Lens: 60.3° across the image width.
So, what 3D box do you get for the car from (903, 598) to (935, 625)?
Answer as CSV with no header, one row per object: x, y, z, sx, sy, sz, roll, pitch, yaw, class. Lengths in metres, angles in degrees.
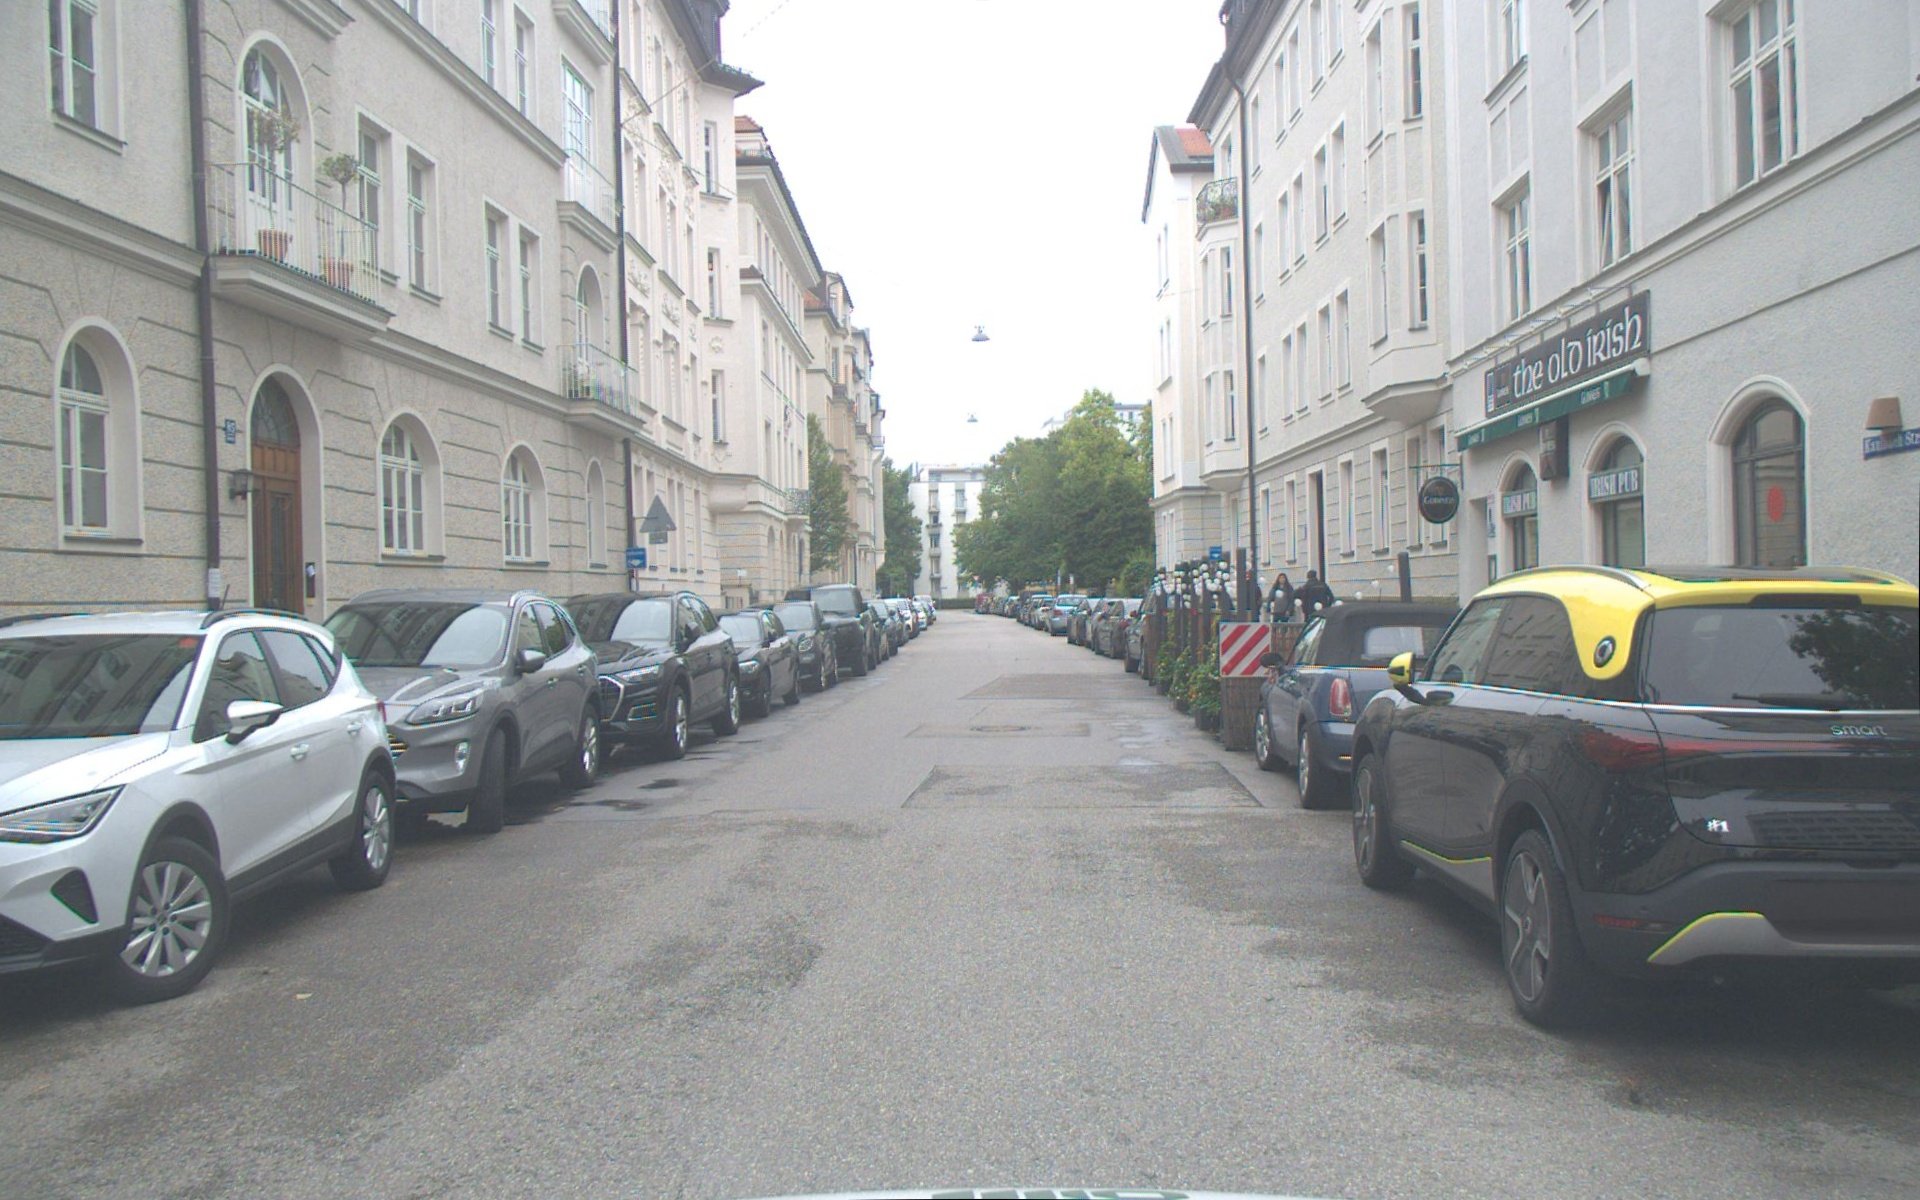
-2.527,0.715,103.101,1.799,1.460,4.245,-4,0,0,car

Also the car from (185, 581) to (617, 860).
-3.971,0.744,12.571,1.799,1.707,4.213,-2,0,0,car

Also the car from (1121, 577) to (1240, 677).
4.060,0.450,30.995,1.763,1.704,4.190,-2,0,2,car

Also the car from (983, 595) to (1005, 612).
3.316,0.361,160.168,1.802,1.545,3.944,0,0,-4,car

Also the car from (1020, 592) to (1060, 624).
4.275,0.407,88.650,1.715,1.639,4.421,0,1,-3,car

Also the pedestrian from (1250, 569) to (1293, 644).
7.858,0.152,41.786,0.865,1.845,1.111,-2,0,1,pedestrian

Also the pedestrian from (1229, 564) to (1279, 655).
6.175,0.192,34.797,0.864,1.843,1.111,-2,0,3,pedestrian

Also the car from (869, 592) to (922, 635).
-2.589,0.514,67.420,1.875,1.647,4.572,-2,0,1,car

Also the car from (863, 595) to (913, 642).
-2.743,0.671,62.327,1.747,1.568,4.254,-4,0,-3,car

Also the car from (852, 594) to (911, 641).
-2.699,0.588,57.633,1.756,1.439,4.278,-4,0,0,car

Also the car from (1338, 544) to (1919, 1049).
3.027,0.633,7.502,1.798,1.647,4.096,1,1,2,car

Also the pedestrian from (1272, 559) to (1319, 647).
8.005,0.069,39.489,0.865,2.049,1.111,-2,0,1,pedestrian

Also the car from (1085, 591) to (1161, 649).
4.516,0.517,46.418,1.724,1.511,4.421,1,1,1,car

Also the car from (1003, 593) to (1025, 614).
4.270,0.294,131.469,1.483,1.690,3.672,0,0,-2,car

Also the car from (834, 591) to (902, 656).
-2.541,0.634,46.415,1.692,1.647,4.120,-4,0,-2,car

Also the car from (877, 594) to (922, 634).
-2.638,0.584,72.916,1.799,1.647,4.244,-2,0,0,car

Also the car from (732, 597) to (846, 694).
-2.970,0.753,29.314,1.583,1.539,3.531,-3,0,0,car

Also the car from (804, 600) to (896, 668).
-2.638,0.795,40.363,1.799,1.418,4.245,-4,0,1,car

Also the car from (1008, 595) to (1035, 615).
4.481,0.396,121.743,1.801,1.438,4.342,0,0,0,car

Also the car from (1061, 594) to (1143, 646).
4.345,0.580,51.366,1.953,1.483,4.711,-2,0,-2,car

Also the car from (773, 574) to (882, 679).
-2.689,0.495,34.500,1.799,1.927,4.763,-4,0,0,car

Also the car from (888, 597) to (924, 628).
-2.860,0.653,88.373,1.799,1.459,4.243,-3,1,-2,car

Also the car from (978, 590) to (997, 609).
2.867,-0.063,170.976,1.798,1.960,4.006,1,1,2,car

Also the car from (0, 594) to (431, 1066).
-3.842,0.800,7.620,1.660,1.595,3.949,-2,0,-3,car

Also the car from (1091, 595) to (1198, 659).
4.478,0.621,40.841,1.800,1.423,4.970,0,1,-3,car

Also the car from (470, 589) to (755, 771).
-3.512,0.729,17.607,1.837,1.627,4.435,-2,0,3,car

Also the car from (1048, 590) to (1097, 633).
4.416,0.434,65.453,1.784,1.596,4.402,1,1,2,car

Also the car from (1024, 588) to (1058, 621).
4.570,0.259,93.831,1.687,1.800,4.413,1,0,1,car

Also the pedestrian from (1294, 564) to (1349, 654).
7.532,0.180,34.509,0.865,1.817,1.111,-2,0,0,pedestrian

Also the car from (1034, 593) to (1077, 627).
4.405,0.449,76.454,1.748,1.531,4.065,-1,0,0,car

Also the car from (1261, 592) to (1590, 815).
3.401,0.677,12.707,1.632,1.424,3.493,1,1,2,car

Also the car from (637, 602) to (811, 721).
-3.233,0.796,23.407,1.620,1.431,4.093,-3,0,3,car
